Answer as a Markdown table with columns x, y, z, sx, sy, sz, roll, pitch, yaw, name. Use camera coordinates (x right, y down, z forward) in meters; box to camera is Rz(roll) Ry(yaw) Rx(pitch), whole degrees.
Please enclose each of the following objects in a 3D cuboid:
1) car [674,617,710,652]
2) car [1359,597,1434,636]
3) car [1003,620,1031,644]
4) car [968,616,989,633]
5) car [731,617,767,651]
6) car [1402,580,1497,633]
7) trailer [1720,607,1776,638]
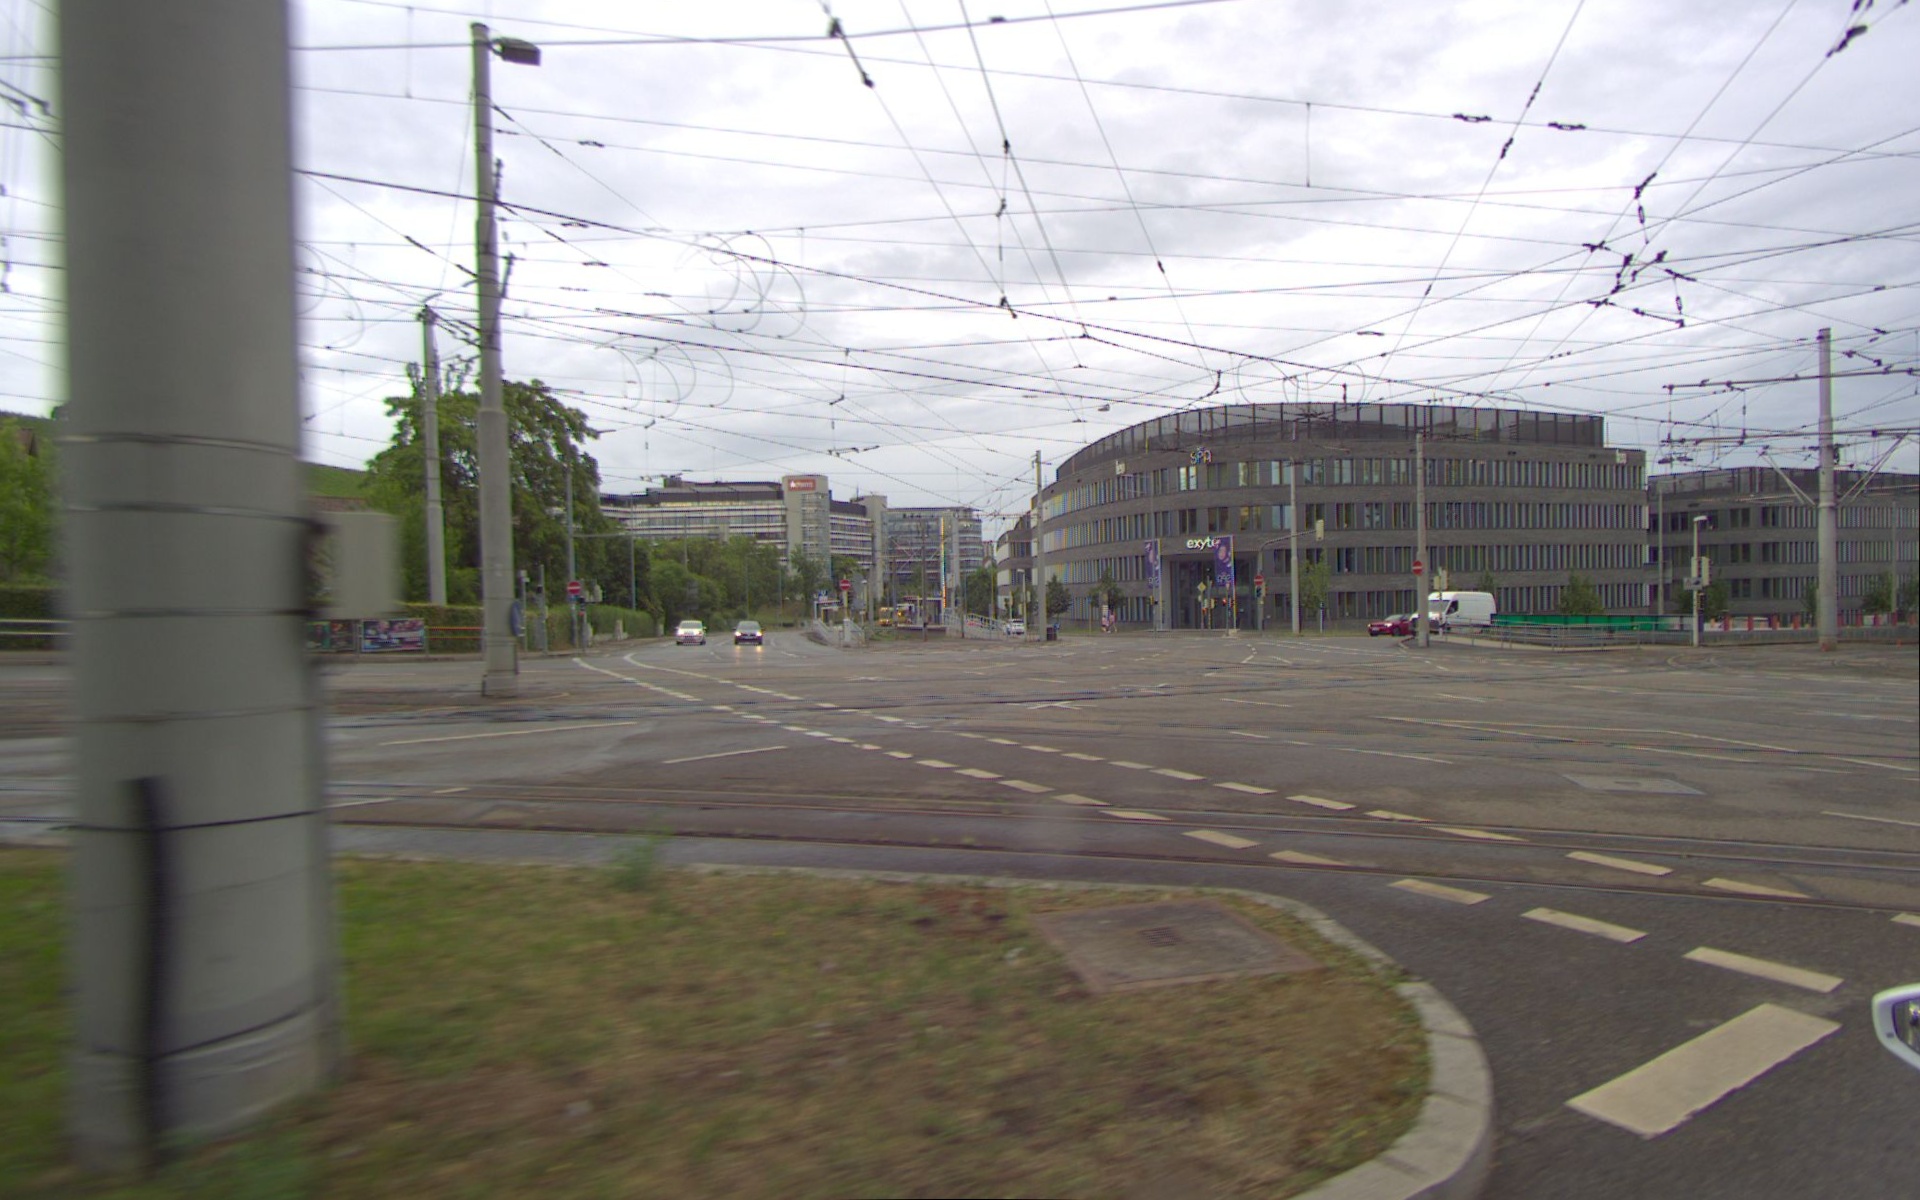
| x | y | z | sx | sy | sz | roll | pitch | yaw | name |
| --- | --- | --- | --- | --- | --- | --- | --- | --- | --- |
| -16.688 | 2.146 | 62.603 | 1.967 | 2.040 | 3.988 | 3 | -2 | -15 | car |
| 26.183 | 0.977 | 60.200 | 4.196 | 2.181 | 1.985 | -1 | -1 | -29 | car |
| 5.234 | 2.949 | 92.386 | 1.962 | 2.040 | 3.998 | 2 | -2 | -4 | car |
| 2.050 | 2.821 | 114.930 | 1.962 | 1.839 | 3.998 | 2 | -2 | -4 | car |
| -13.601 | 2.134 | 64.614 | 1.967 | 2.040 | 3.988 | 3 | -2 | -15 | car |
| 27.984 | 0.445 | 57.353 | 5.648 | 2.868 | 1.985 | 1 | -3 | -29 | car |
| 58.305 | 1.665 | 74.350 | 4.225 | 2.101 | 1.816 | 3 | -2 | -30 | trailer |
